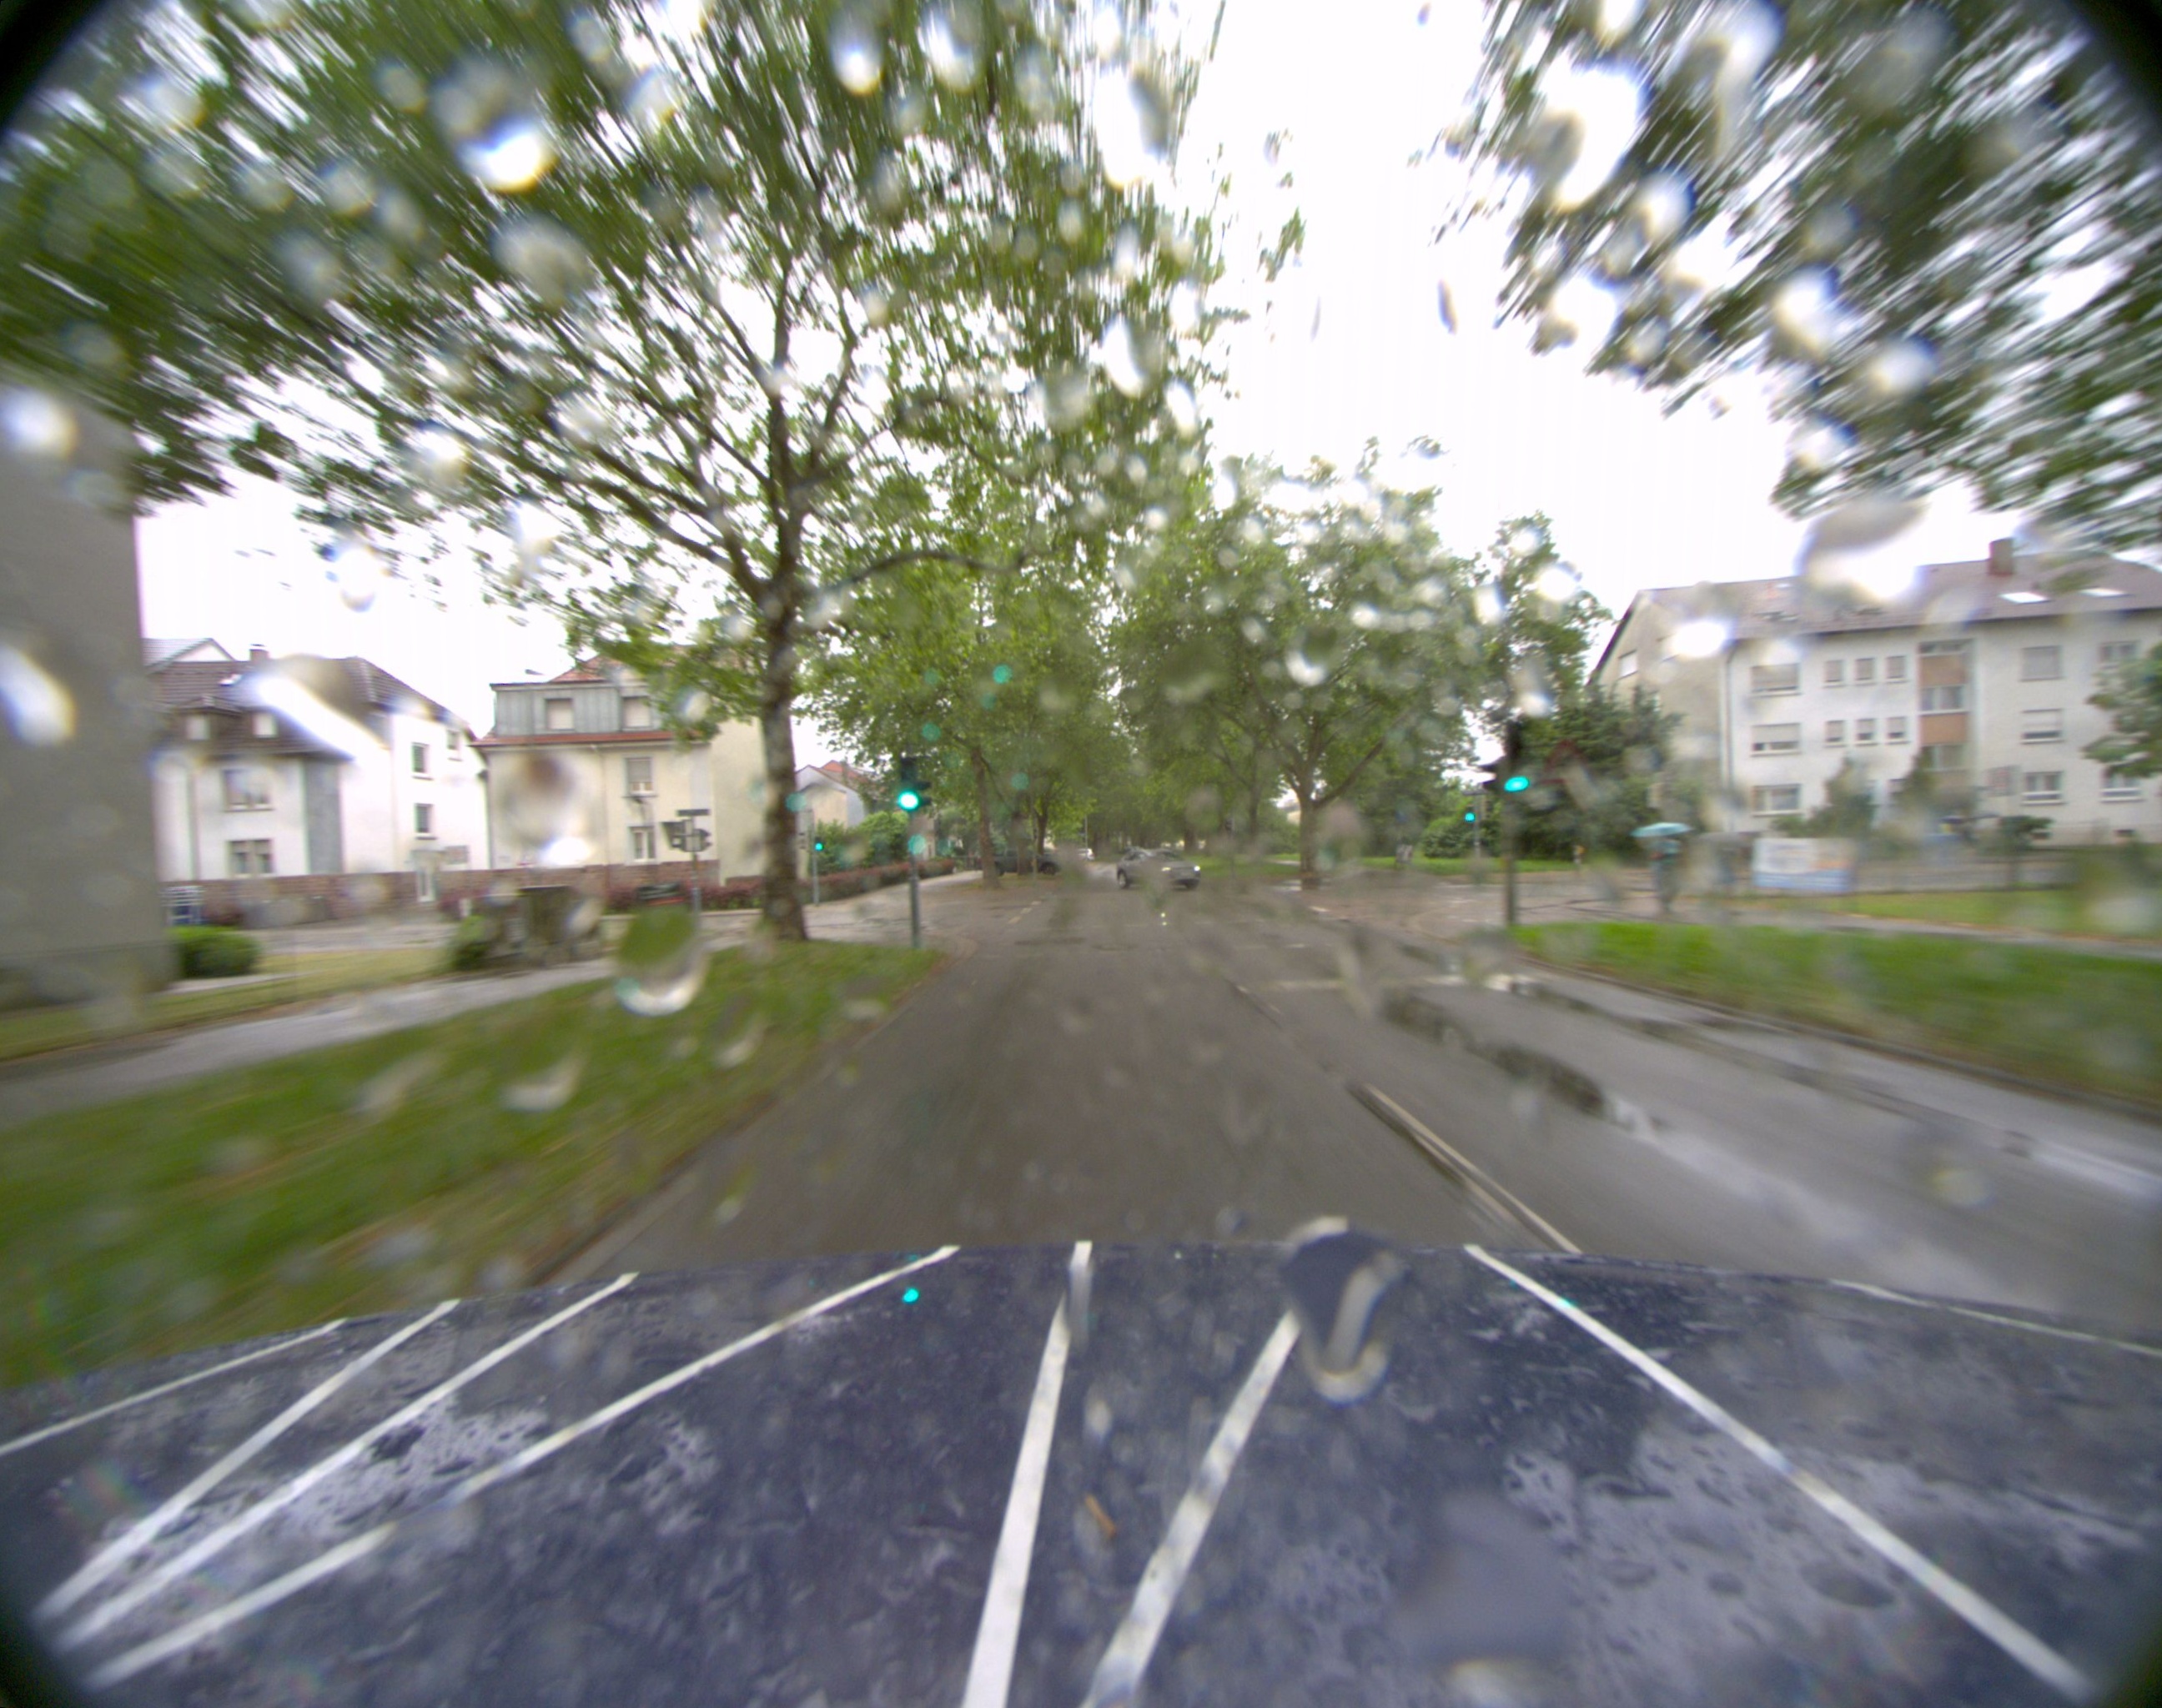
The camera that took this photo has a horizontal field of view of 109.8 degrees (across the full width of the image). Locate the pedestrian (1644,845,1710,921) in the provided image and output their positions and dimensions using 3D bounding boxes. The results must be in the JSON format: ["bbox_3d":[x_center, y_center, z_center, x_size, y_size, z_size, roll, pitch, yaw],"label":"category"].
[{"bbox_3d":[11.700,0.551,14.930,0.599,1.445,0.856,-2,1,1],"label":"pedestrian"}]

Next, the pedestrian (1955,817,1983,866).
[{"bbox_3d":[32.871,-0.463,28.138,0.506,1.772,0.461,-2,1,-7],"label":"pedestrian"}]

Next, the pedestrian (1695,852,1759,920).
[{"bbox_3d":[12.638,0.611,14.889,0.517,1.254,0.849,-2,1,1],"label":"pedestrian"}]

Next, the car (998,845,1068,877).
[{"bbox_3d":[-3.005,0.422,48.088,4.263,1.846,1.891,-2,1,-2],"label":"car"}]

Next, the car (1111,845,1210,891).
[{"bbox_3d":[3.166,0.522,31.283,2.002,1.678,4.712,-3,1,-22],"label":"car"}]

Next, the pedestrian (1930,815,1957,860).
[{"bbox_3d":[33.004,-0.635,29.084,0.506,1.695,0.461,-2,1,-7],"label":"pedestrian"}]
